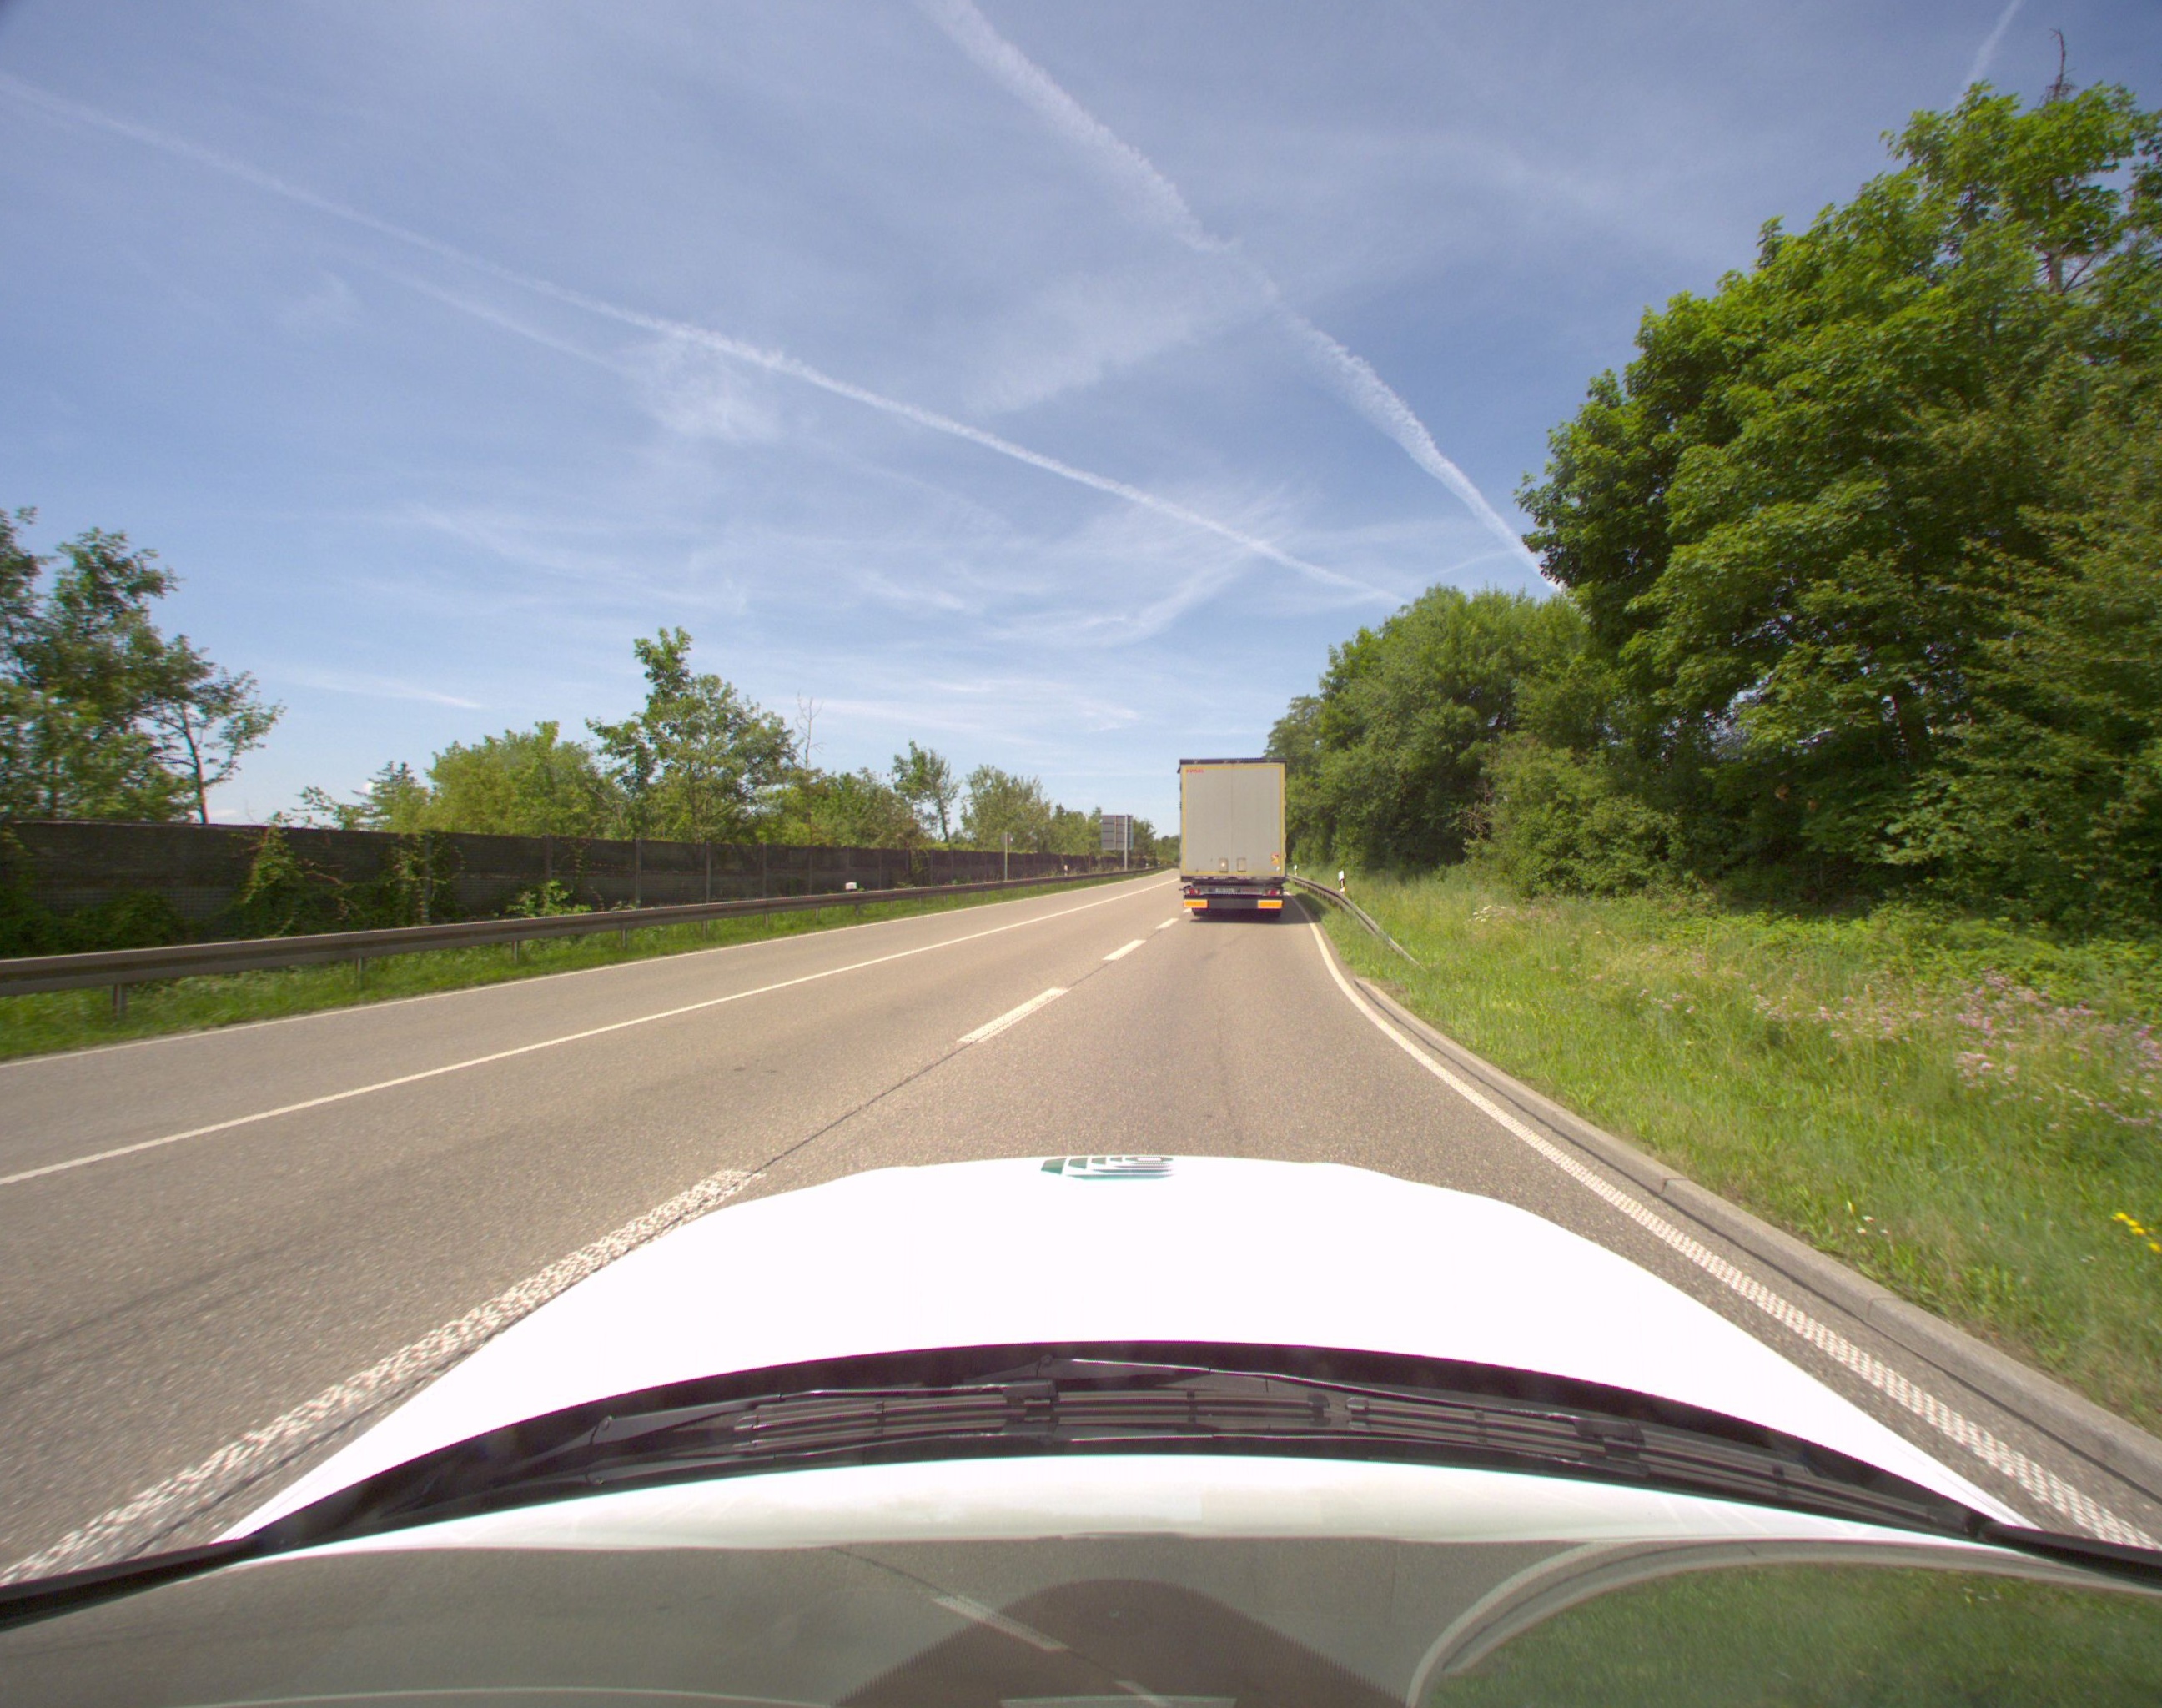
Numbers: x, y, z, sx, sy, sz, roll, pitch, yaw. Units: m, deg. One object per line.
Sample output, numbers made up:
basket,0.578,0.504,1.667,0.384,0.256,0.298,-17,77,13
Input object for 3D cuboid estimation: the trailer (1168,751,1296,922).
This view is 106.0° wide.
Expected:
trailer,5.182,-0.337,25.994,3.005,4.035,13.401,0,-1,14

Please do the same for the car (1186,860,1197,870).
car,26.517,2.674,195.720,2.602,2.423,5.840,-1,-1,7

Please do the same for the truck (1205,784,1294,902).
truck,6.921,-0.363,33.058,3.131,4.225,7.147,0,-1,13
